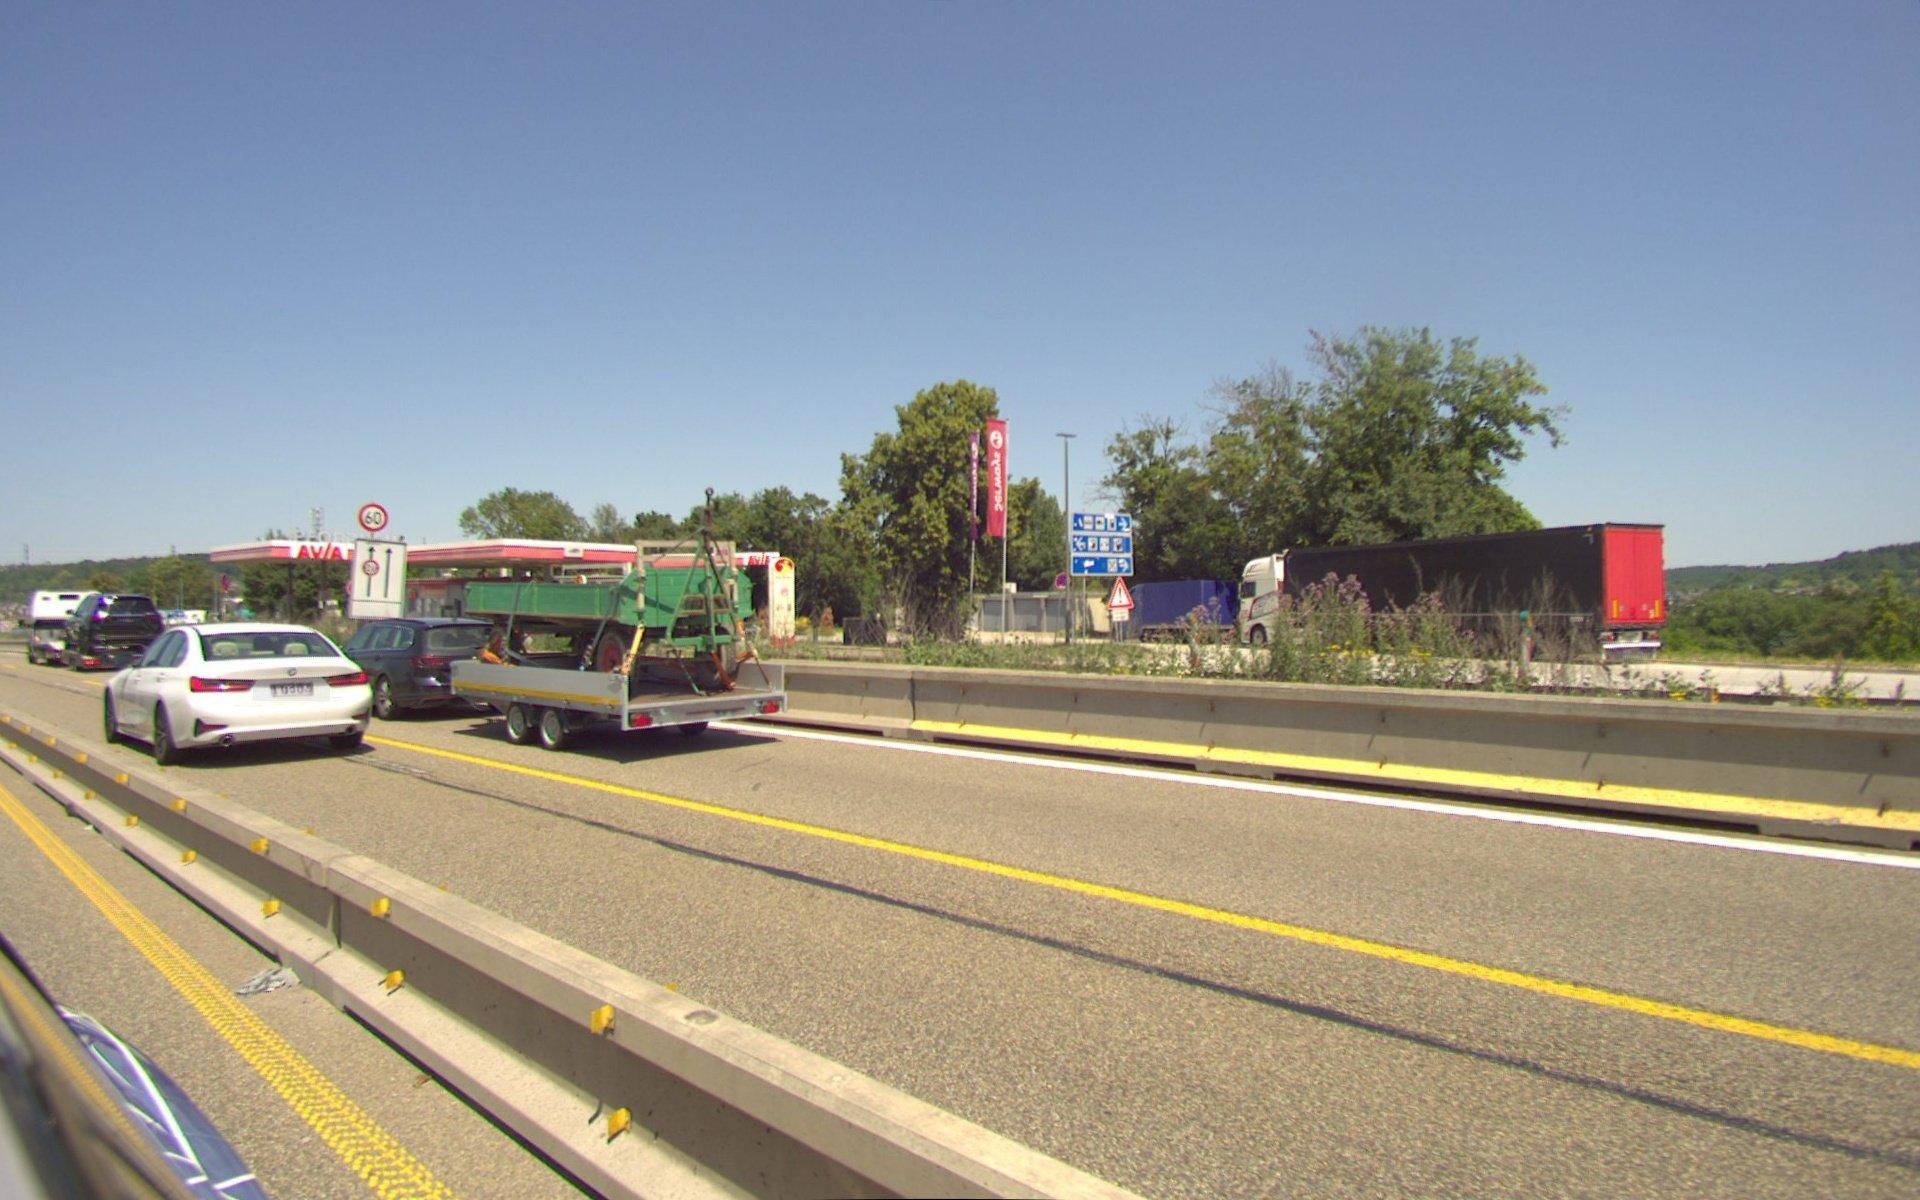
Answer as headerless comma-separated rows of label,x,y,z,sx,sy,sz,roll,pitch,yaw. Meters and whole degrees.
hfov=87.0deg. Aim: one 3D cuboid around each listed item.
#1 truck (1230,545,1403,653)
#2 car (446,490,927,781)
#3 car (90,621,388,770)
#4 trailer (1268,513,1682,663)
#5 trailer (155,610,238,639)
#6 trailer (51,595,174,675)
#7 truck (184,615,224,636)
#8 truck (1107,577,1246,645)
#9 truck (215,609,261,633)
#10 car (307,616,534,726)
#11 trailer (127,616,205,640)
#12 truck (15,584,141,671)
truck,14.259,0.005,41.048,3.105,4.015,6.367,0,-1,-22
car,-3.381,0.373,11.258,6.448,2.417,1.894,-2,-2,41
car,-8.311,0.969,11.528,4.245,1.386,1.797,-2,-3,41
trailer,16.654,-0.211,35.156,3.105,4.142,14.210,0,-1,-22
trailer,-138.073,4.452,183.049,12.193,4.197,2.863,-4,1,-4
trailer,-26.988,1.106,32.147,5.611,2.332,2.159,-2,-1,41
truck,-149.666,5.087,200.337,5.648,3.644,2.585,-4,1,-8
truck,10.516,0.570,49.947,2.779,3.087,7.144,0,-1,-27
truck,-130.921,3.787,183.528,6.054,3.778,2.836,-4,1,-4
car,-8.448,1.027,15.677,4.333,1.463,1.670,-2,-2,41
trailer,-156.685,5.463,199.719,12.561,3.812,2.624,-4,1,-4
truck,-32.132,1.000,36.744,8.125,2.846,2.454,-2,-1,42
